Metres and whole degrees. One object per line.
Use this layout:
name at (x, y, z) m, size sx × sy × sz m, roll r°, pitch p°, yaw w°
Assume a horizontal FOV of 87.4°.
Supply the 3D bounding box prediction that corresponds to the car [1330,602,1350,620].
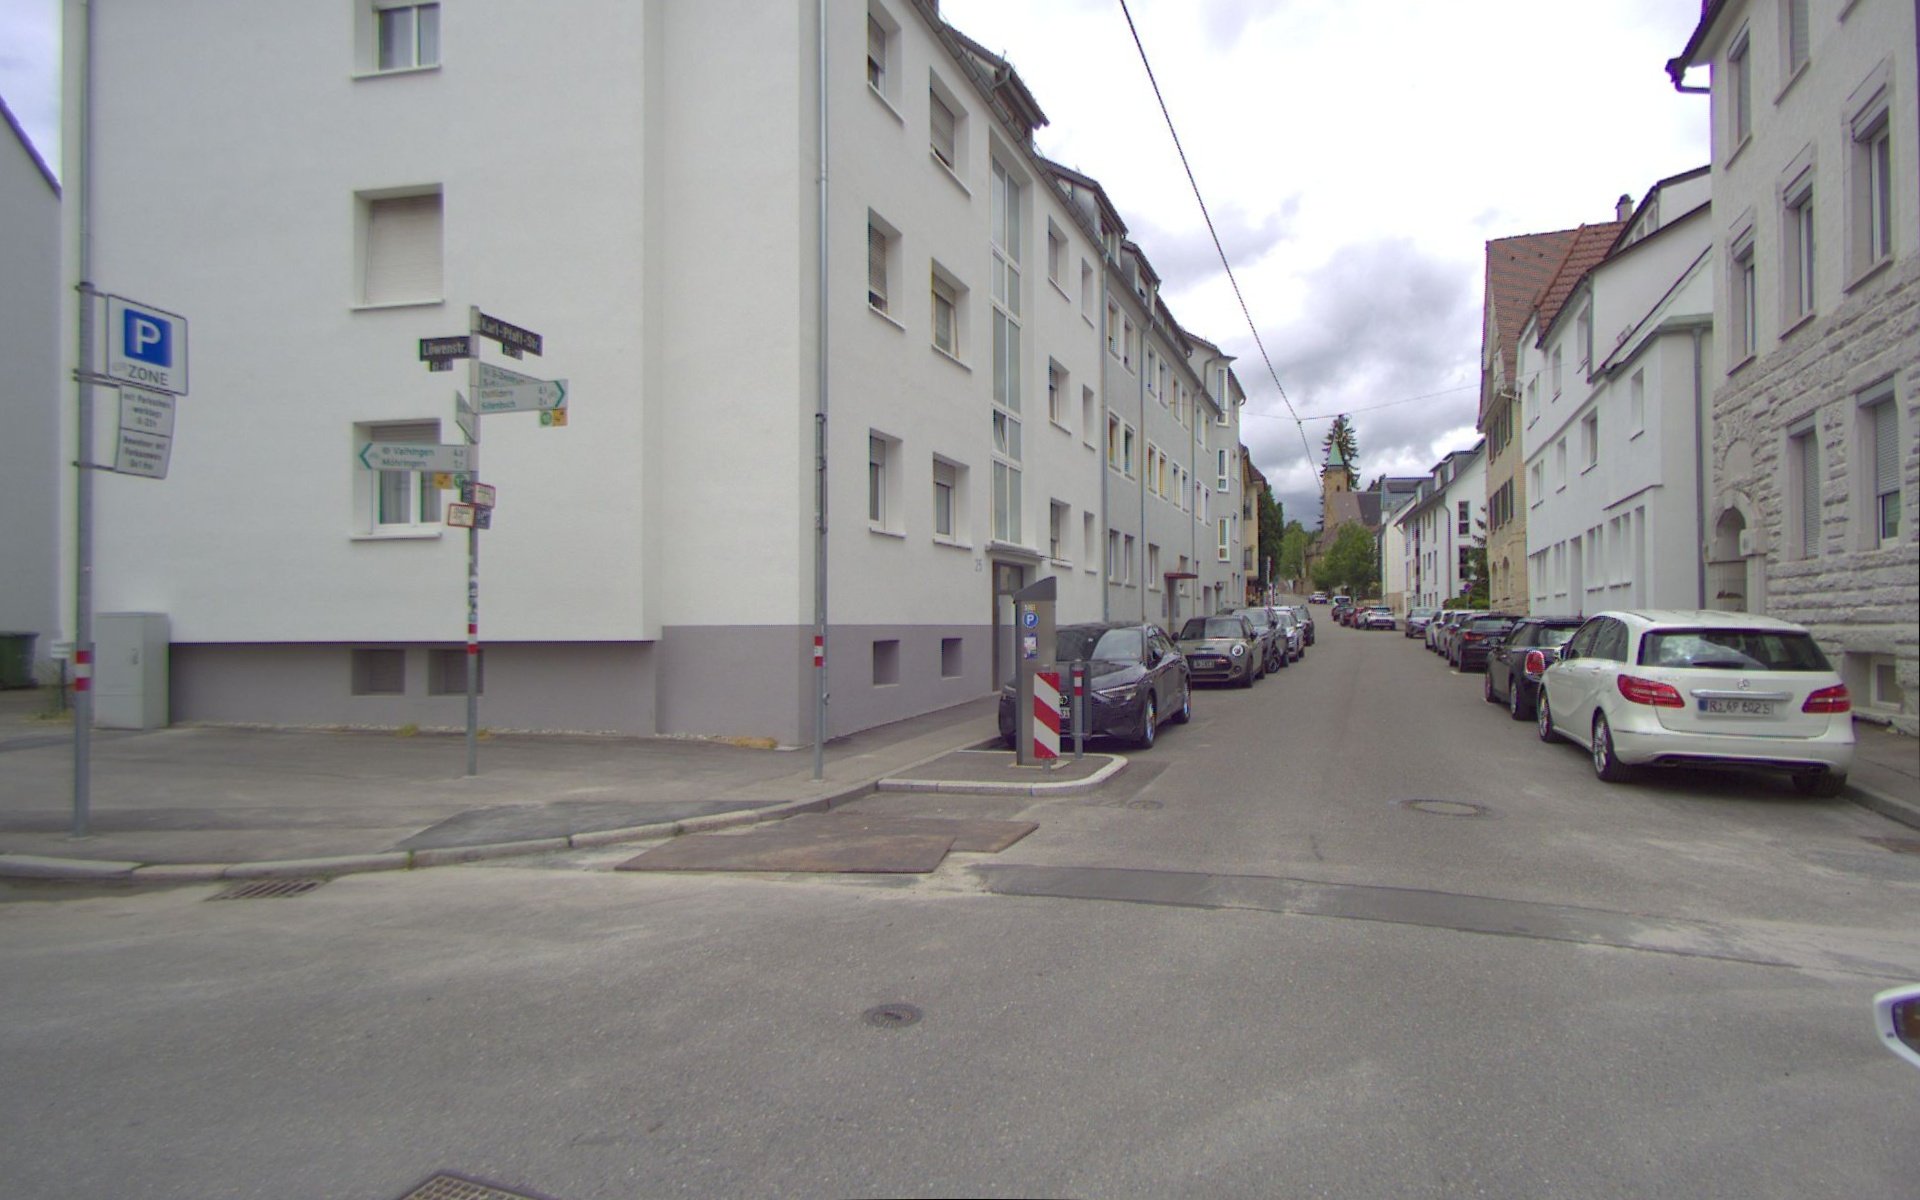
car at (34.638, 0.995, 91.523) m, size 1.640 × 1.499 × 3.625 m, roll 0°, pitch 1°, yaw 20°

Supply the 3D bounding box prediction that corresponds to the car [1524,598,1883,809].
car at (7.084, 0.826, 10.107) m, size 1.790 × 1.620 × 4.027 m, roll 1°, pitch 0°, yaw 20°

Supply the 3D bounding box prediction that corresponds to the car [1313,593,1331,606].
car at (50.394, -0.070, 139.833) m, size 2.145 × 1.716 × 3.627 m, roll 0°, pitch 1°, yaw 15°

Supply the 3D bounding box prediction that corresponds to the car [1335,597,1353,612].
car at (39.053, 0.465, 102.141) m, size 1.640 × 1.499 × 3.625 m, roll 0°, pitch 1°, yaw 20°

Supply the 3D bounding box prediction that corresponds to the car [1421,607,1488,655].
car at (17.003, 1.020, 34.648) m, size 1.640 × 1.499 × 3.625 m, roll 1°, pitch 1°, yaw 20°

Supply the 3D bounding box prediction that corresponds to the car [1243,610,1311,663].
car at (9.505, 1.057, 29.985) m, size 1.702 × 1.467 × 3.718 m, roll -1°, pitch -1°, yaw 21°

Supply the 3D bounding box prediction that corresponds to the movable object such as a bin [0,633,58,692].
movable object such as a bin at (-17.503, 1.151, 18.613) m, size 0.875 × 1.070 × 0.858 m, roll -1°, pitch -3°, yaw 24°

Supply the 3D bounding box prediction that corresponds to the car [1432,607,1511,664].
car at (15.164, 1.007, 29.935) m, size 1.640 × 1.499 × 3.625 m, roll 1°, pitch 1°, yaw 20°

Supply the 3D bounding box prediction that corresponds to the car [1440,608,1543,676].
car at (12.824, 0.953, 24.458) m, size 1.640 × 1.403 × 4.027 m, roll 1°, pitch 1°, yaw 20°

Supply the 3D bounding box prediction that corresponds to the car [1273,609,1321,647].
car at (13.889, 1.115, 41.259) m, size 1.702 × 1.467 × 3.718 m, roll -1°, pitch -1°, yaw 21°

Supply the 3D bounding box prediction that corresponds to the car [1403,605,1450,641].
car at (21.581, 1.030, 46.597) m, size 1.640 × 1.499 × 3.625 m, roll 1°, pitch 1°, yaw 20°

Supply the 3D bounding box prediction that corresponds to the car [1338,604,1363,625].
car at (29.357, 1.047, 75.553) m, size 1.640 × 1.499 × 3.625 m, roll 0°, pitch 1°, yaw 20°

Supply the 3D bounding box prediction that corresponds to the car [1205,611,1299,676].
car at (7.389, 1.044, 25.244) m, size 1.703 × 1.489 × 3.716 m, roll -1°, pitch -1°, yaw 25°

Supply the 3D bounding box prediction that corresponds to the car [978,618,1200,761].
car at (1.814, 0.978, 12.659) m, size 1.790 × 1.410 × 4.297 m, roll -1°, pitch -1°, yaw 21°

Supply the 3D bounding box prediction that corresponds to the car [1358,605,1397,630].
car at (26.837, 1.092, 64.674) m, size 1.753 × 1.499 × 3.627 m, roll 0°, pitch 0°, yaw 13°

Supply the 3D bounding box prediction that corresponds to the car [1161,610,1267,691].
car at (5.378, 0.991, 20.991) m, size 1.702 × 1.509 × 3.718 m, roll -1°, pitch -1°, yaw 21°

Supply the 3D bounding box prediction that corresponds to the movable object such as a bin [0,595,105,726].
movable object such as a bin at (-12.187, 0.766, 13.222) m, size 0.982 × 1.639 × 1.012 m, roll 1°, pitch -1°, yaw 16°

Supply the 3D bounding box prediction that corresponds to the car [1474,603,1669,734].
car at (8.759, 0.869, 14.745) m, size 1.640 × 1.553 × 4.027 m, roll 1°, pitch 1°, yaw 20°
